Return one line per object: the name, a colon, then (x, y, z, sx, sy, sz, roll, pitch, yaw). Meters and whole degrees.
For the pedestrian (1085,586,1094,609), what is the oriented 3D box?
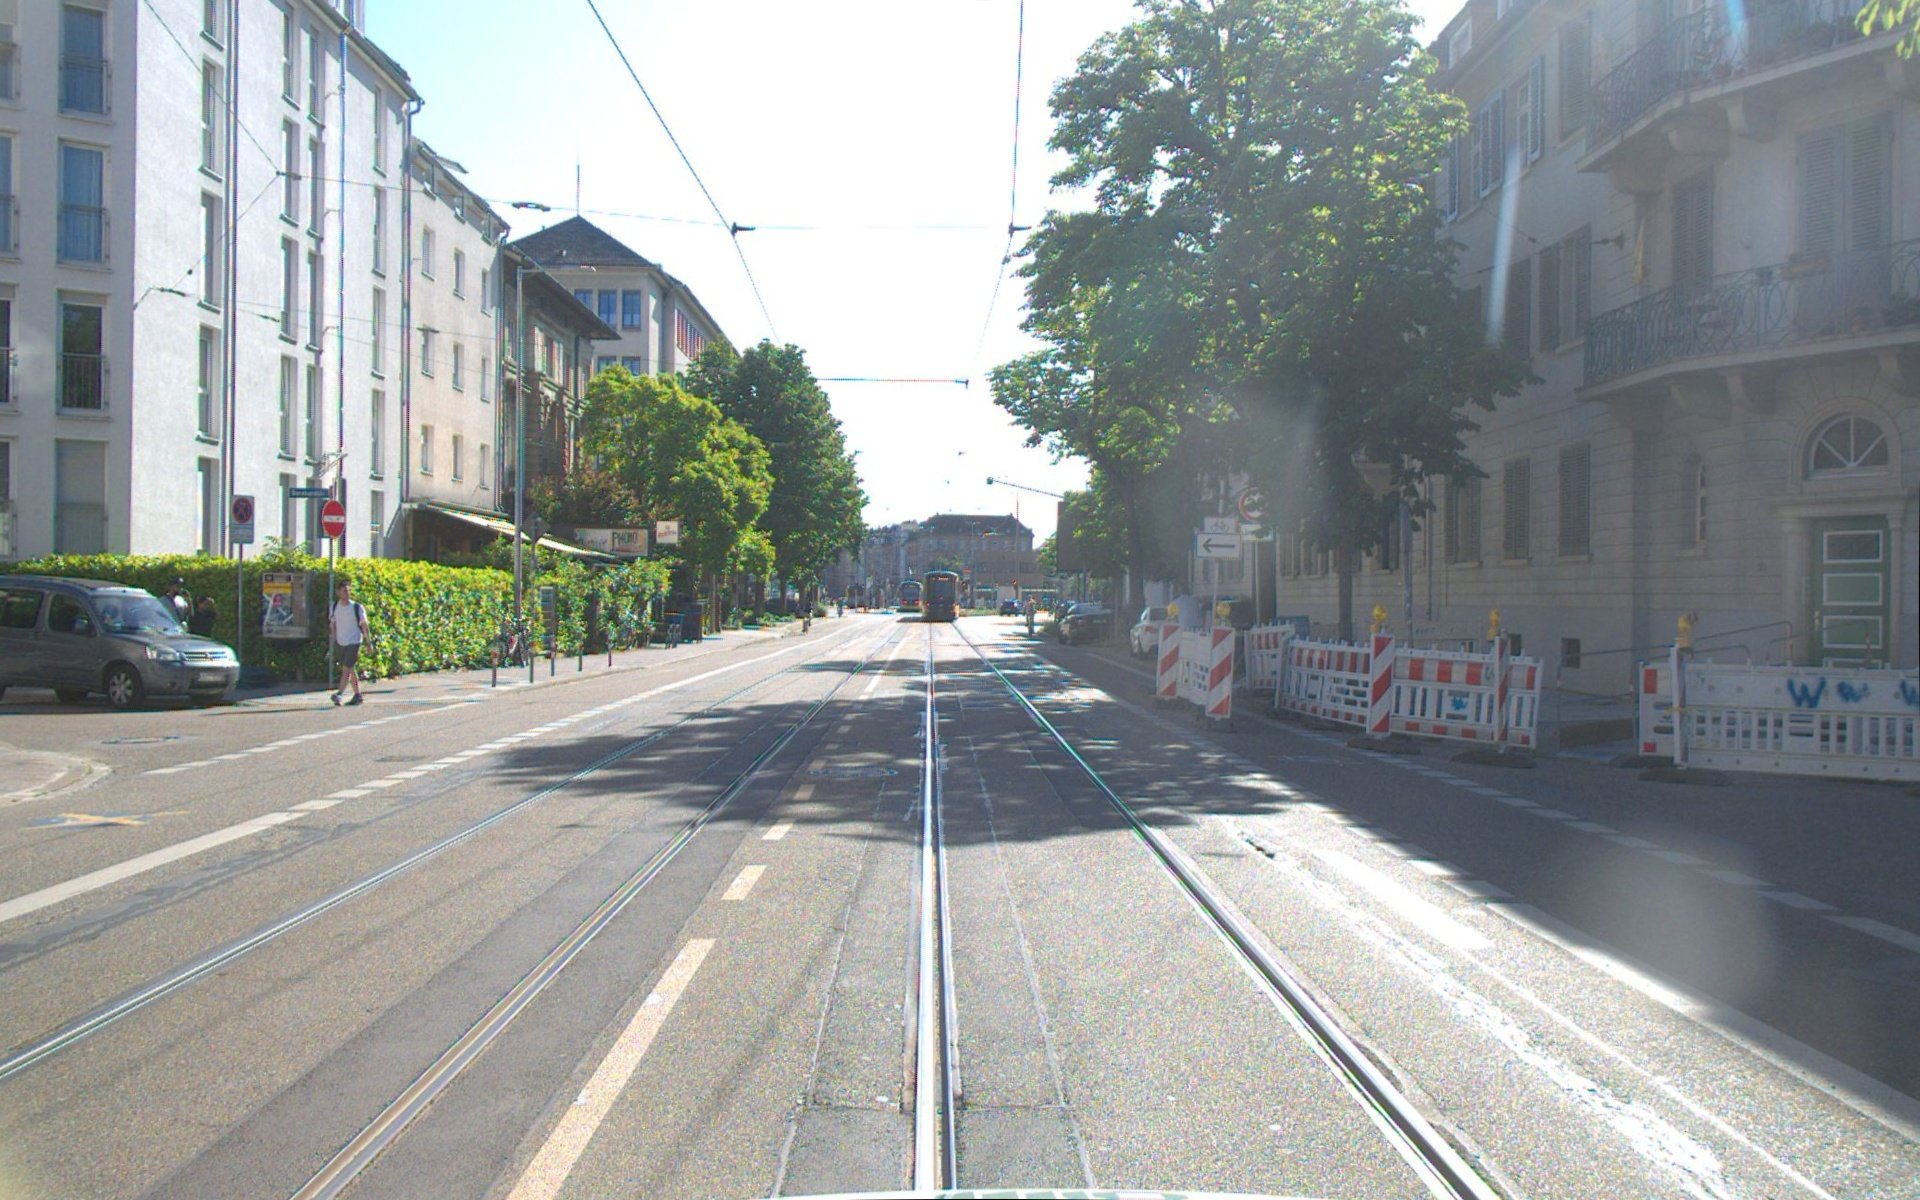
pedestrian: (11.157, -0.241, 142.528, 0.624, 1.937, 1.134, -2, 0, 0)

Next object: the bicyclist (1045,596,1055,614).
bicyclist: (8.889, 0.520, 163.546, 0.691, 1.730, 0.986, 3, 1, 23)

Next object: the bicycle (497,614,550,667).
bicycle: (-9.633, 0.882, 36.545, 0.648, 1.108, 1.840, 3, -1, 0)

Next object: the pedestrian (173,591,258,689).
pedestrian: (-11.841, 0.625, 26.316, 0.933, 1.503, 0.757, 2, 0, 18)

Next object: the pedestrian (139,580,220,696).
pedestrian: (-12.071, 0.576, 25.587, 0.789, 1.744, 0.757, 2, 0, 18)

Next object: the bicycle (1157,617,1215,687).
bicycle: (3.867, 0.874, 28.443, 0.723, 1.113, 2.111, 2, 0, 1)

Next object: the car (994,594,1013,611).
car: (4.234, 0.234, 160.606, 1.751, 1.632, 3.714, 2, 0, 3)

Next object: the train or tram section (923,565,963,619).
train or tram section: (-1.319, -0.618, 119.857, 2.687, 3.715, 13.781, 0, 1, -2)

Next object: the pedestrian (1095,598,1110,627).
pedestrian: (8.350, 0.757, 96.906, 0.839, 1.669, 0.993, 0, -2, 1)

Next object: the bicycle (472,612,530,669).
bicycle: (-9.586, 0.833, 34.565, 0.648, 1.108, 1.840, 3, -1, 0)

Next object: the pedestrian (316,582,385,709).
pedestrian: (-8.788, 0.643, 23.864, 0.677, 1.799, 0.866, 0, 0, 0)

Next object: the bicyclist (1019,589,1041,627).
bicyclist: (3.222, 0.372, 76.402, 0.690, 1.704, 1.102, 2, 0, 18)

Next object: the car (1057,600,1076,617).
car: (10.430, 0.830, 161.993, 1.752, 1.537, 3.713, 1, 0, 1)

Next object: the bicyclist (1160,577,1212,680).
bicyclist: (3.876, 0.478, 28.408, 0.723, 1.715, 0.972, 2, 0, 1)

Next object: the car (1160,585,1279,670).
car: (5.521, 0.540, 35.712, 1.773, 1.654, 4.583, -2, 0, 0)

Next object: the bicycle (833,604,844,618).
bicycle: (-10.188, 0.906, 138.854, 0.672, 1.144, 1.932, -2, 0, 3)

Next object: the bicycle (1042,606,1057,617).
bicycle: (8.862, 1.120, 163.559, 0.691, 1.073, 2.313, 3, 1, 23)

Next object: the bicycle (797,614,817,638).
bicycle: (-7.278, 1.236, 78.715, 0.730, 1.100, 1.899, -3, 0, 0)

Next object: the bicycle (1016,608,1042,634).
bicycle: (3.200, 0.966, 76.405, 0.690, 1.124, 1.718, 2, 1, 18)

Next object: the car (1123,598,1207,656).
car: (5.374, 0.675, 43.798, 1.688, 1.406, 4.356, -1, 0, 1)

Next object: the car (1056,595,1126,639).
car: (4.699, 0.582, 60.085, 1.786, 1.484, 4.814, -1, 0, -4)

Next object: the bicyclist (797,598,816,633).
bicyclist: (-7.300, 0.723, 78.716, 0.730, 1.627, 1.118, -3, 0, 0)

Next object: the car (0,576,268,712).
car: (-12.196, 0.621, 23.790, 3.957, 1.839, 1.792, 0, -1, 20)

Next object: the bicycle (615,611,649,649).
bicycle: (-9.703, 0.882, 48.963, 0.625, 1.077, 1.743, 3, 0, 0)

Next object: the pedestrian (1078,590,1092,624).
pedestrian: (6.969, 0.395, 92.114, 0.670, 1.882, 0.955, -1, 0, -2)

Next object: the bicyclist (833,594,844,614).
bicyclist: (-10.205, 0.349, 138.837, 0.672, 1.673, 1.238, -2, 0, 3)

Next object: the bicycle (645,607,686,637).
bicycle: (-10.612, 0.780, 59.659, 0.623, 1.064, 2.023, 0, 0, 15)

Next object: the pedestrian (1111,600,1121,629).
pedestrian: (8.649, 0.789, 91.805, 0.507, 1.628, 0.765, 0, 0, 2)

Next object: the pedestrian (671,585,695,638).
pedestrian: (-9.966, 0.412, 59.504, 0.563, 1.863, 0.690, 0, 0, 18)

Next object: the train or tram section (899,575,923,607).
train or tram section: (-5.780, -1.091, 195.070, 2.687, 3.715, 13.781, 0, 1, -2)

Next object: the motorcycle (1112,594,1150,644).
motorcycle: (5.348, 0.584, 51.879, 0.895, 1.514, 2.679, -2, 0, 0)
